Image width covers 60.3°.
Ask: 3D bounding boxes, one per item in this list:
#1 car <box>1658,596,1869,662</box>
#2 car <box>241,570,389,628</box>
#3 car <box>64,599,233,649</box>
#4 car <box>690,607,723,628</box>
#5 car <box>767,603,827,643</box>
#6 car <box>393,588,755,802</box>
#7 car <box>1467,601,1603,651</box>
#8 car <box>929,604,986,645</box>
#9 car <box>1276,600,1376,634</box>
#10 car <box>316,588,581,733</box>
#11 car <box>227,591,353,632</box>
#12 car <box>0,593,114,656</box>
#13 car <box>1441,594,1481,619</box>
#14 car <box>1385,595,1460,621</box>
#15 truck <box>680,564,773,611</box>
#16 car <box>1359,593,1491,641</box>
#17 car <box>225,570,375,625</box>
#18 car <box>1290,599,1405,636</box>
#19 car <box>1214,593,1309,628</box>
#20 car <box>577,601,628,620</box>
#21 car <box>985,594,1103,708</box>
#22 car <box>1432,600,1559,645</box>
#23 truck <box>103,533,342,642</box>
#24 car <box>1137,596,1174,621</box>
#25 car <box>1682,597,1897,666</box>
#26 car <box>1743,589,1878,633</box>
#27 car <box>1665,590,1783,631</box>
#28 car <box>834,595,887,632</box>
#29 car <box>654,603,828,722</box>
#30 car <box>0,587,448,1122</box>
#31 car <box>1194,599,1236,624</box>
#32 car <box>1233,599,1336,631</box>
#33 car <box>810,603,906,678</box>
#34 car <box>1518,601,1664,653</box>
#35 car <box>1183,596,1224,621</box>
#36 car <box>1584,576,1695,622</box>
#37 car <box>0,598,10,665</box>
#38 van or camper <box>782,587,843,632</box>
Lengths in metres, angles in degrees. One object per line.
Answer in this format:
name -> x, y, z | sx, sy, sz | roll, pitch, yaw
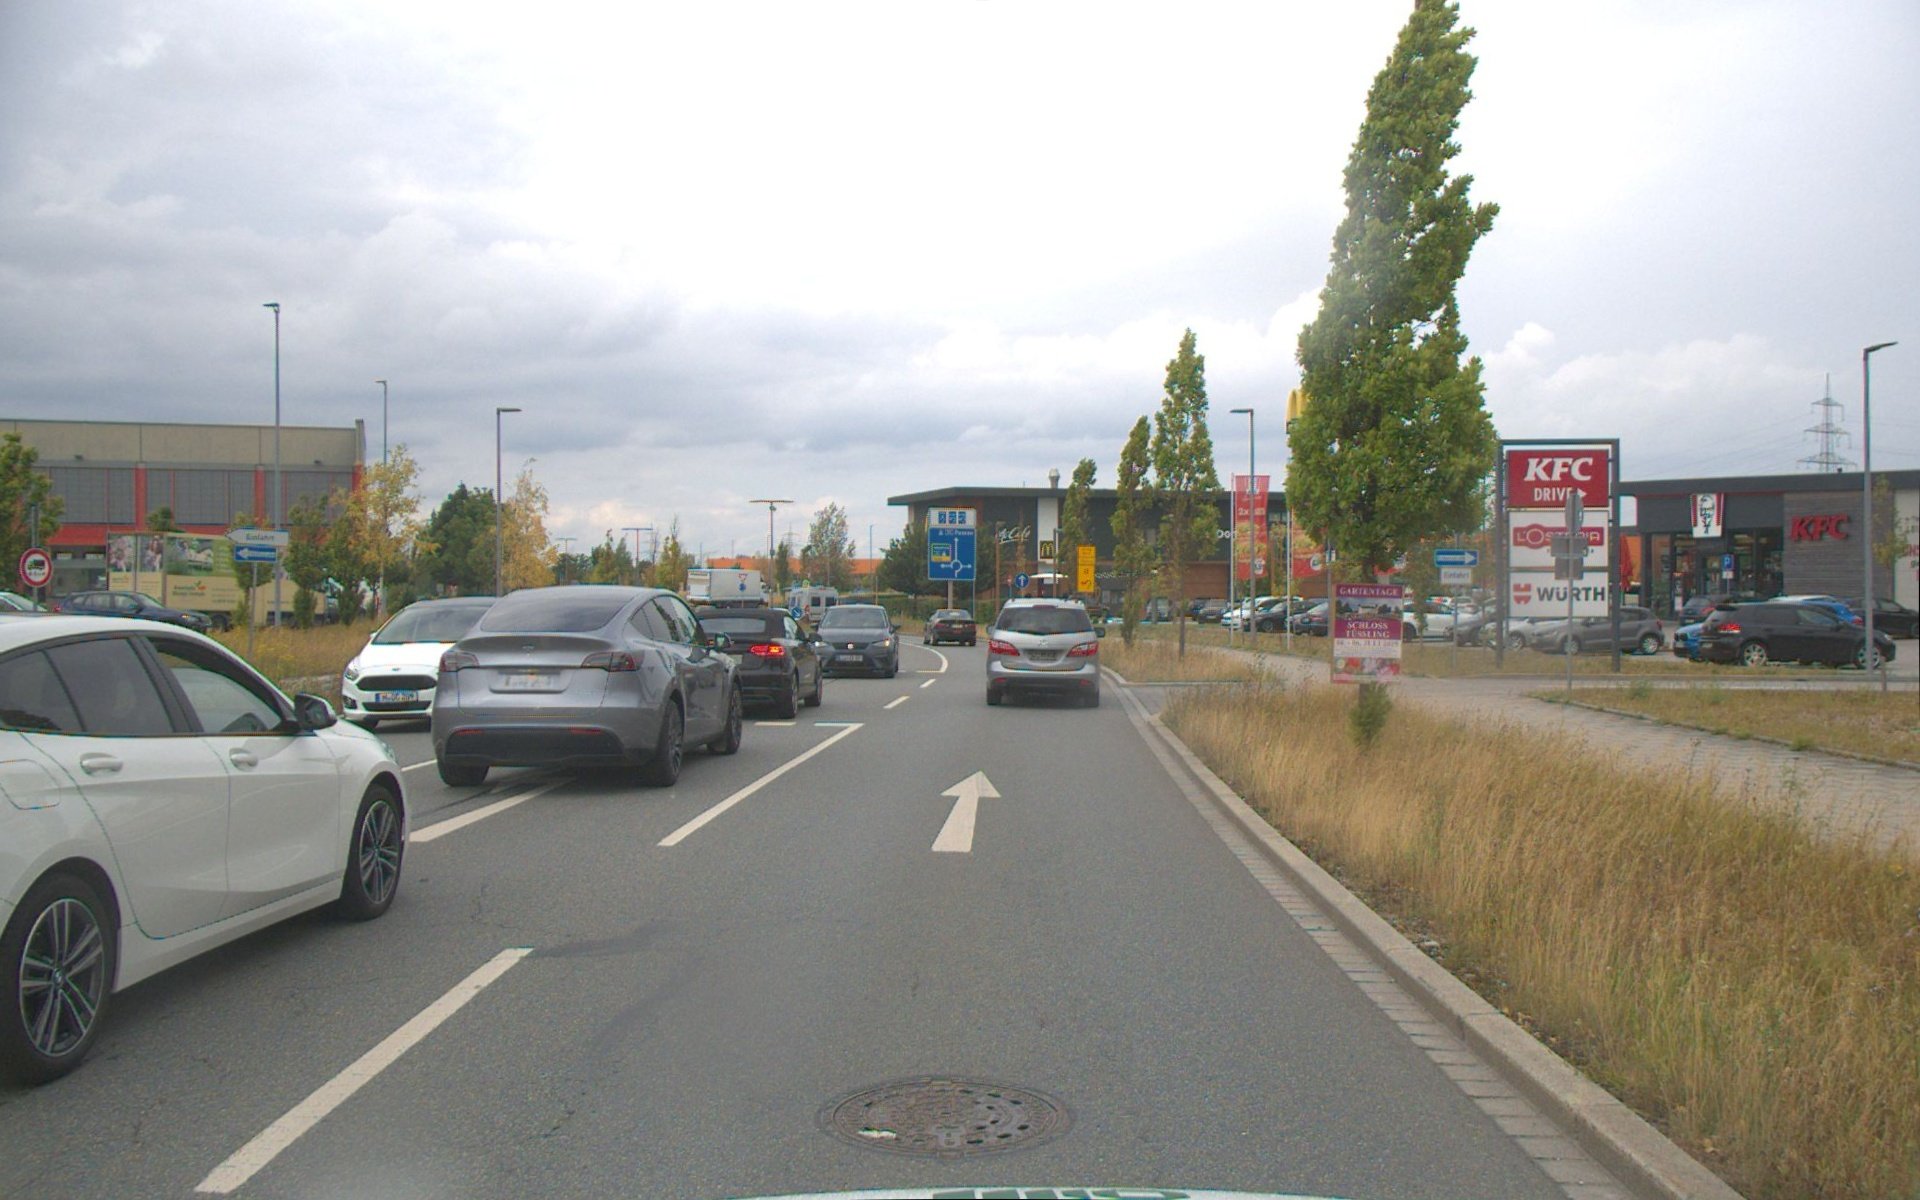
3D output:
car -> 19.512, 0.680, 40.290 | 4.174, 1.546, 1.966 | 0, 0, 0
car -> -30.200, -0.036, 77.655 | 6.307, 2.644, 2.232 | 0, 0, -18
car -> -24.684, 0.722, 50.407 | 4.149, 1.460, 1.996 | 0, 0, -5
car -> -19.165, 1.321, 124.996 | 1.962, 1.542, 3.982 | 0, 0, -16
car -> -6.286, 0.872, 64.112 | 1.798, 1.442, 4.500 | -2, 0, 1
car -> -3.164, 0.695, 14.633 | 1.952, 1.588, 4.614 | 0, 0, 2
car -> 19.043, 0.832, 54.882 | 3.785, 1.507, 1.901 | -2, 0, -4
car -> -0.131, 0.879, 62.033 | 1.809, 1.443, 4.220 | 0, 0, -5
car -> 16.496, 0.755, 74.602 | 4.017, 1.463, 1.935 | -1, 0, -16
car -> -6.692, 0.723, 22.230 | 1.952, 1.665, 4.703 | -2, 0, 1
car -> -28.214, 0.466, 69.797 | 4.830, 1.645, 1.983 | 0, 0, -21
car -> -24.511, 0.623, 42.820 | 4.167, 1.586, 1.986 | -1, 0, -8
car -> 30.242, 0.379, 99.794 | 1.910, 1.469, 4.218 | -1, 0, 22
car -> 30.330, 0.520, 108.488 | 4.620, 1.685, 2.000 | -1, 0, 20
truck -> -20.554, -1.076, 146.082 | 3.074, 3.975, 9.318 | -1, 0, 30
car -> 18.181, 0.654, 64.749 | 4.477, 1.673, 2.084 | -2, 0, -9
car -> -28.955, -0.098, 72.804 | 5.976, 2.347, 2.198 | 0, 0, -19
car -> 16.750, 0.745, 71.636 | 4.440, 1.494, 2.025 | -1, 0, -14
car -> 14.911, 0.512, 81.882 | 4.282, 1.668, 1.927 | -1, 0, -20
car -> -29.222, 0.870, 135.294 | 3.924, 1.542, 1.990 | 0, 0, -18
car -> 1.306, 0.744, 25.915 | 1.694, 1.628, 3.808 | 1, 0, 2
car -> 19.340, 0.806, 59.814 | 3.909, 1.511, 1.938 | -1, -1, -5
truck -> -26.090, -0.395, 59.091 | 2.790, 3.603, 8.432 | 0, 0, 19
car -> 13.747, 0.585, 115.954 | 1.951, 1.747, 4.002 | 0, 0, 16
car -> 18.845, 0.698, 37.711 | 3.903, 1.520, 1.982 | 0, 0, 3
car -> 32.469, 0.406, 63.176 | 4.491, 1.545, 2.070 | -1, 0, -19
car -> 31.650, 0.416, 68.533 | 4.300, 1.545, 2.035 | -1, 0, -20
car -> -5.223, 0.703, 86.509 | 2.023, 1.858, 4.770 | 0, 0, -13
car -> -2.875, 0.793, 22.536 | 1.732, 1.463, 4.231 | 0, -1, 1
car -> -3.577, 0.730, 6.353 | 1.841, 1.494, 4.193 | 0, 0, 1
car -> 14.380, 0.642, 93.139 | 1.773, 1.336, 3.851 | 0, 0, 18
car -> 15.574, 0.703, 79.459 | 4.397, 1.461, 2.064 | -1, 0, -17
car -> -2.050, 0.793, 34.154 | 1.792, 1.445, 4.244 | 0, 0, -1
car -> 19.054, 0.789, 50.068 | 3.682, 1.520, 1.889 | 0, 0, -2
car -> 17.379, 0.618, 117.792 | 2.072, 1.747, 4.231 | 0, 0, 20
car -> 37.136, -0.063, 90.404 | 5.599, 2.392, 2.516 | -1, 0, -25
car -> -24.229, 0.717, 37.535 | 4.154, 1.540, 2.046 | 0, 0, 2
van or camper -> -8.643, 0.526, 96.488 | 2.269, 2.550, 5.175 | 0, 0, -20
